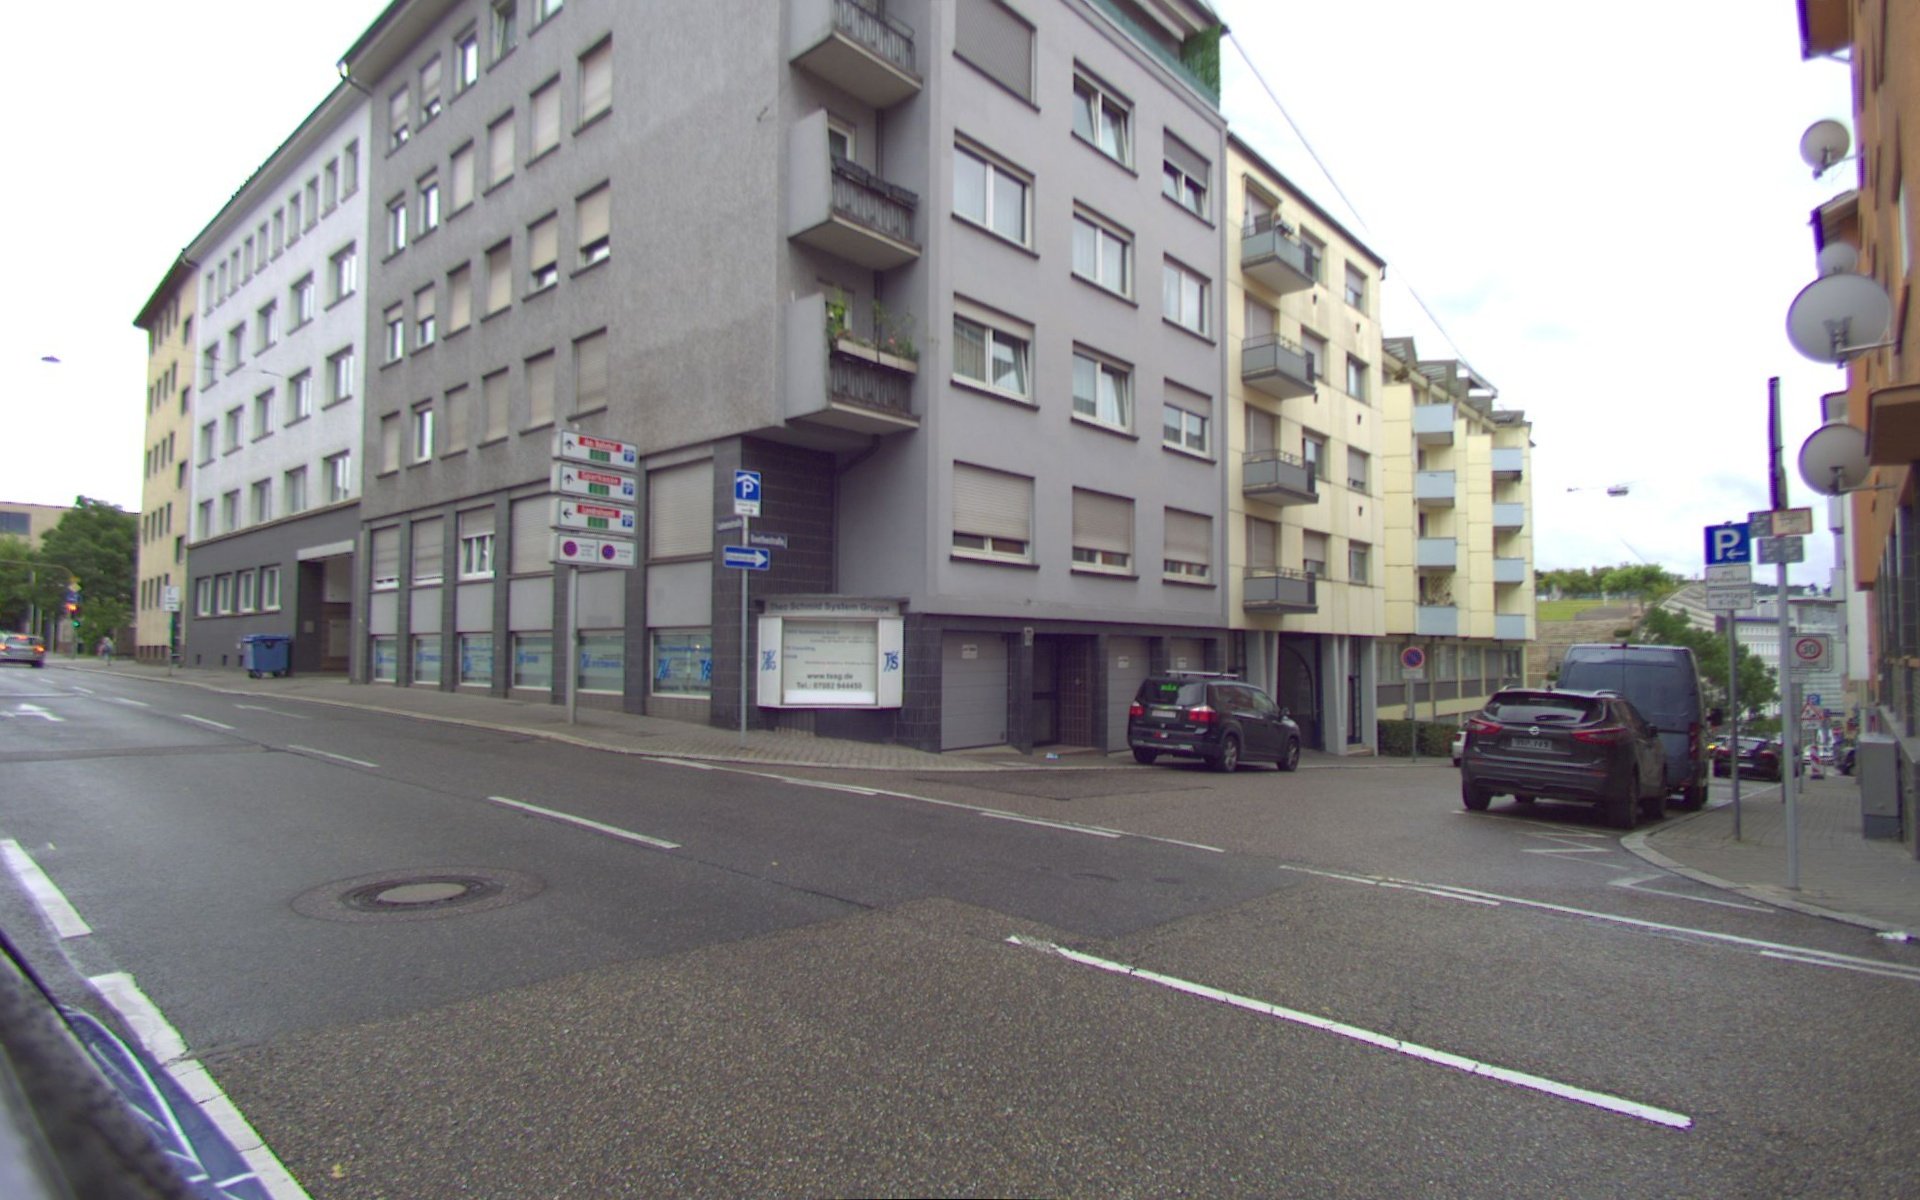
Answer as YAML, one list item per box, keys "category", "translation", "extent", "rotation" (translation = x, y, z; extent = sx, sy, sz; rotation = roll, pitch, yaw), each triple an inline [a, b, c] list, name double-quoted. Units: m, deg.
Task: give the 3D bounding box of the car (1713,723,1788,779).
- category: "car"
  translation: [27.387, 5.219, 35.008]
  extent: [1.817, 1.688, 3.998]
  rotation: [-1, -8, 41]

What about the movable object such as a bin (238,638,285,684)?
- category: "movable object such as a bin"
  translation: [-21.503, 1.858, 31.158]
  extent: [1.096, 1.343, 0.933]
  rotation: [-1, 0, 41]

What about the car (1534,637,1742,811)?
- category: "car"
  translation: [11.905, 2.138, 17.554]
  extent: [2.249, 2.481, 5.975]
  rotation: [-1, -7, 41]

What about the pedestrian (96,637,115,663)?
- category: "pedestrian"
  translation: [-39.306, 2.285, 46.529]
  extent: [0.574, 1.158, 0.407]
  rotation: [6, -6, -42]

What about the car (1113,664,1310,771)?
- category: "car"
  translation: [4.747, 2.215, 18.691]
  extent: [1.794, 1.700, 4.186]
  rotation: [-1, -8, 41]

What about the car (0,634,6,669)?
- category: "car"
  translation: [-50.107, 2.664, 50.225]
  extent: [1.902, 1.728, 3.878]
  rotation: [-1, 0, 42]

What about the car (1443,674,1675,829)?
- category: "car"
  translation: [7.778, 1.912, 12.960]
  extent: [1.842, 1.589, 4.098]
  rotation: [-1, -8, 41]

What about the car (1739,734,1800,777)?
- category: "car"
  translation: [32.573, 6.243, 40.708]
  extent: [1.722, 1.506, 3.998]
  rotation: [-1, -8, 41]

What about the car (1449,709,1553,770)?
- category: "car"
  translation: [15.943, 4.090, 29.737]
  extent: [1.840, 1.559, 3.945]
  rotation: [-1, -7, 41]

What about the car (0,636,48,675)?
- category: "car"
  translation: [-42.554, 2.459, 45.452]
  extent: [4.371, 1.602, 1.858]
  rotation: [-1, -3, 41]
